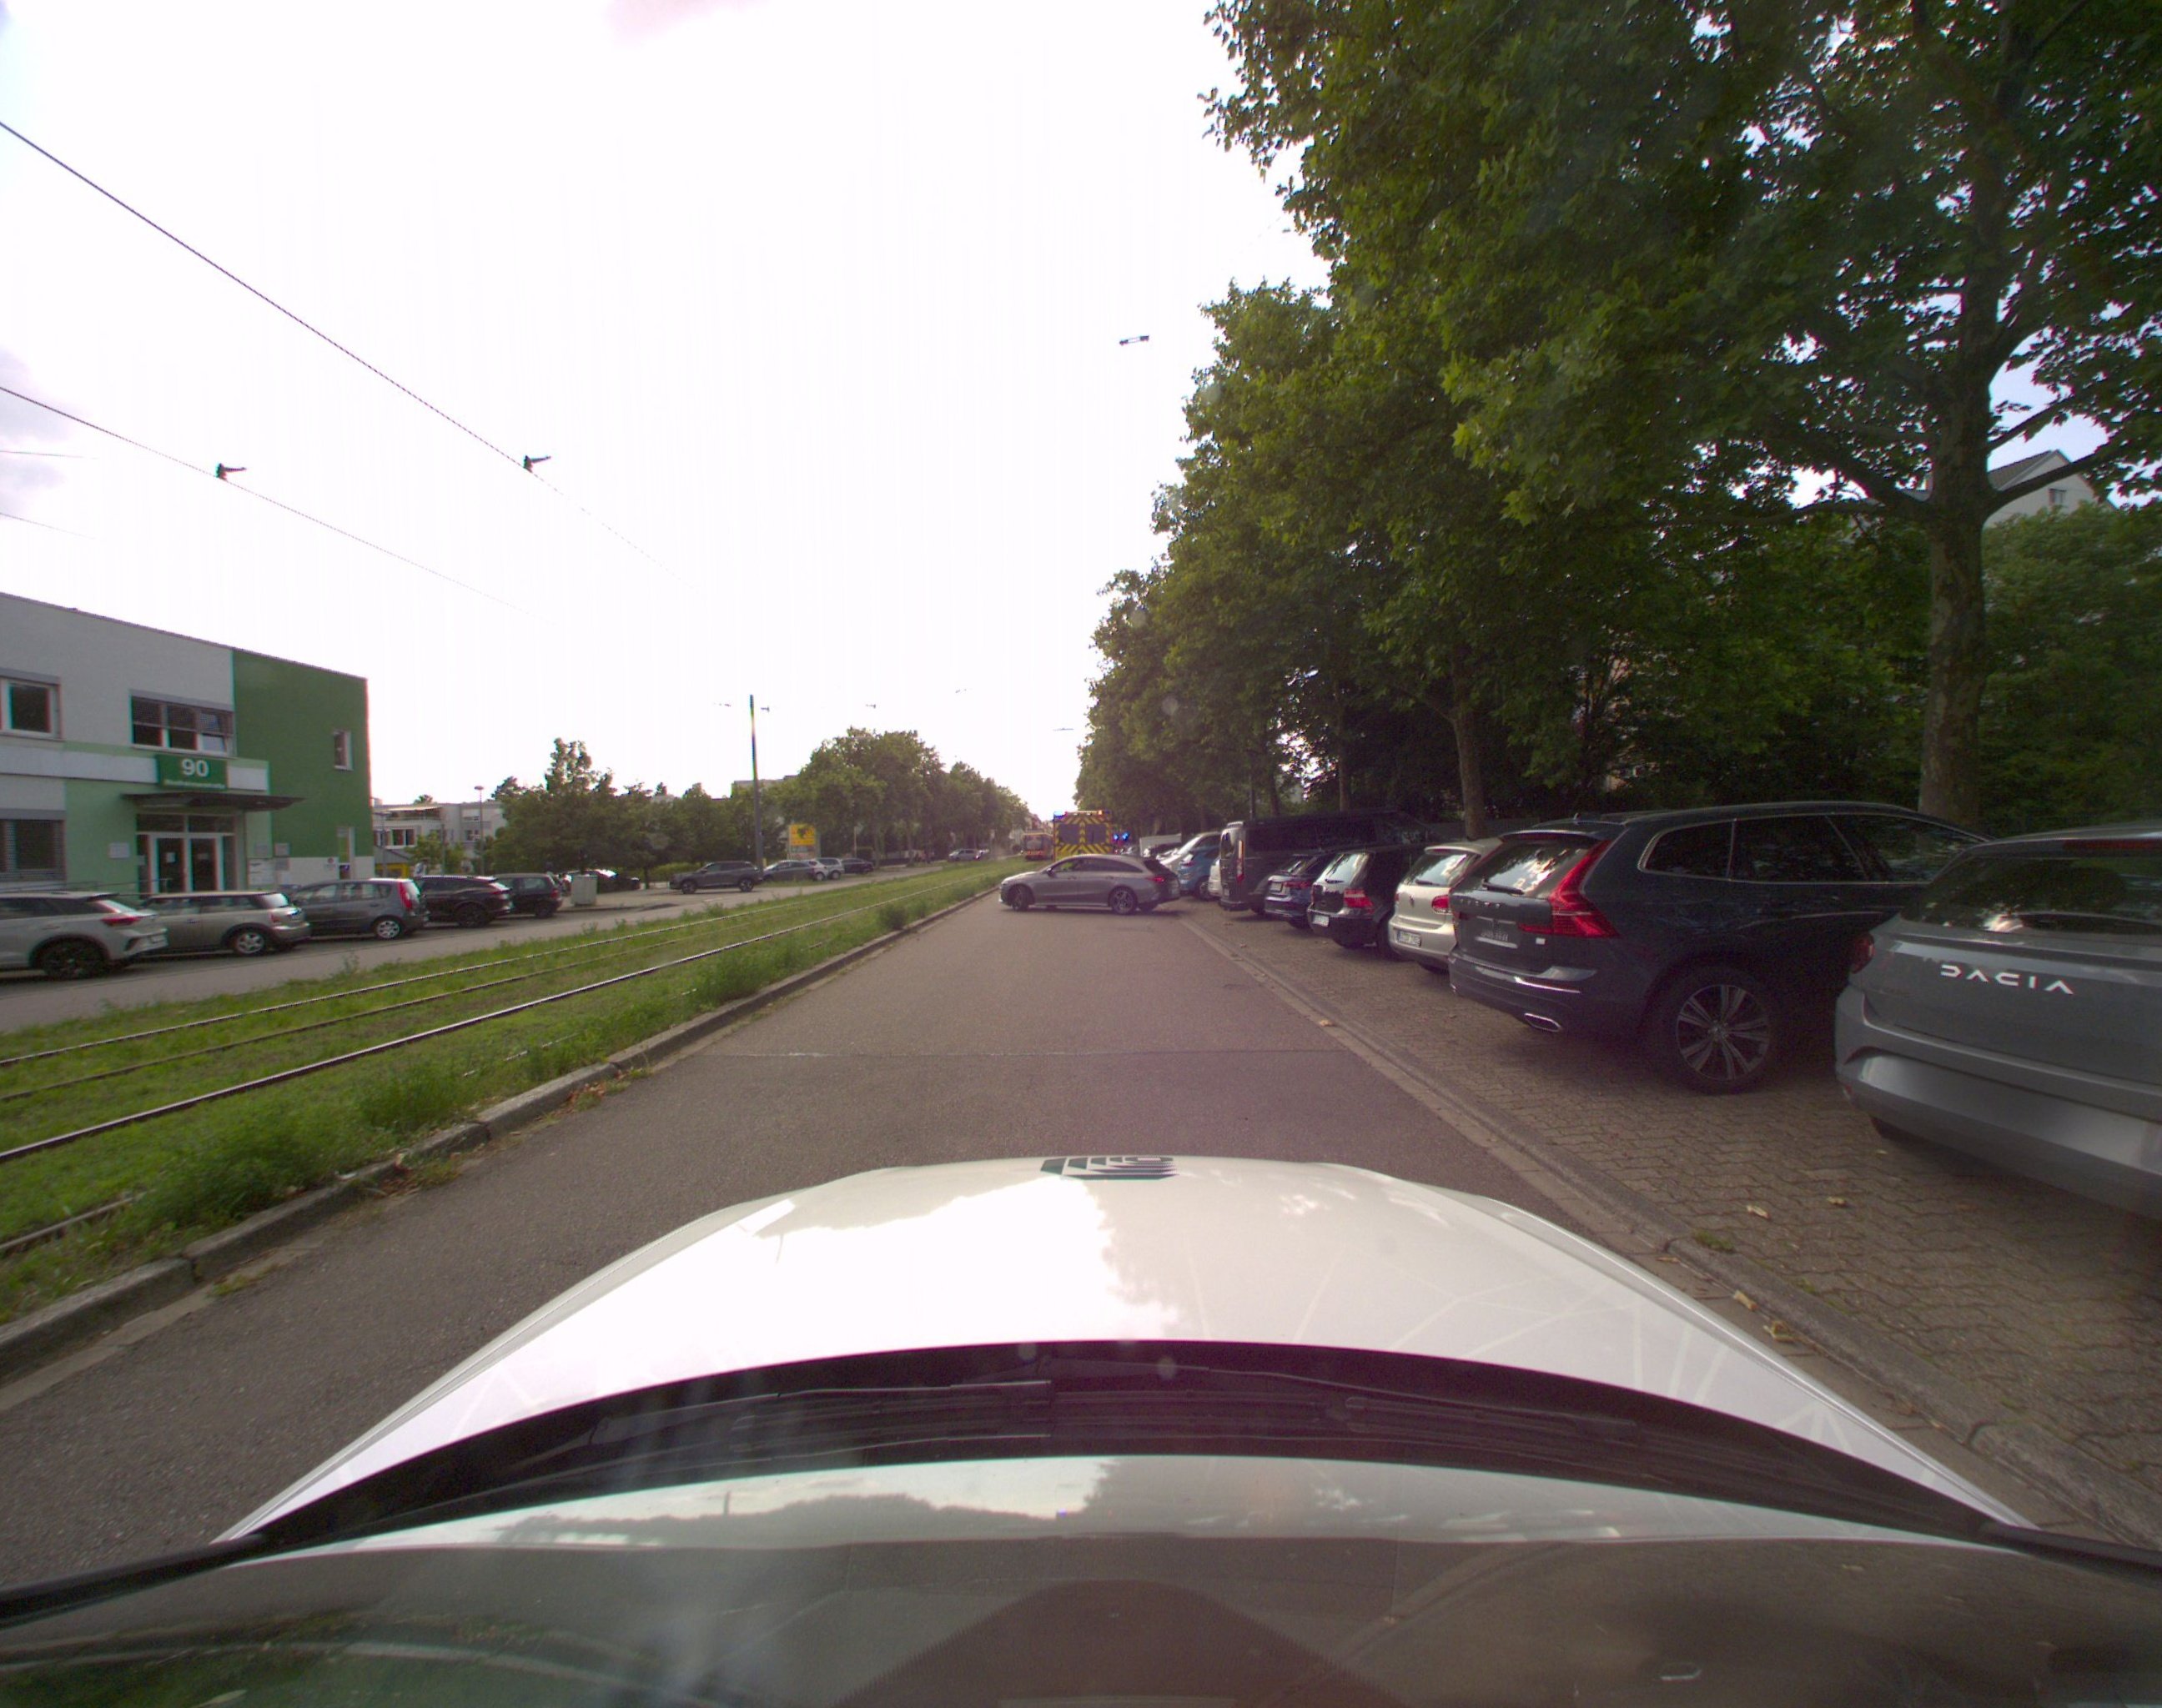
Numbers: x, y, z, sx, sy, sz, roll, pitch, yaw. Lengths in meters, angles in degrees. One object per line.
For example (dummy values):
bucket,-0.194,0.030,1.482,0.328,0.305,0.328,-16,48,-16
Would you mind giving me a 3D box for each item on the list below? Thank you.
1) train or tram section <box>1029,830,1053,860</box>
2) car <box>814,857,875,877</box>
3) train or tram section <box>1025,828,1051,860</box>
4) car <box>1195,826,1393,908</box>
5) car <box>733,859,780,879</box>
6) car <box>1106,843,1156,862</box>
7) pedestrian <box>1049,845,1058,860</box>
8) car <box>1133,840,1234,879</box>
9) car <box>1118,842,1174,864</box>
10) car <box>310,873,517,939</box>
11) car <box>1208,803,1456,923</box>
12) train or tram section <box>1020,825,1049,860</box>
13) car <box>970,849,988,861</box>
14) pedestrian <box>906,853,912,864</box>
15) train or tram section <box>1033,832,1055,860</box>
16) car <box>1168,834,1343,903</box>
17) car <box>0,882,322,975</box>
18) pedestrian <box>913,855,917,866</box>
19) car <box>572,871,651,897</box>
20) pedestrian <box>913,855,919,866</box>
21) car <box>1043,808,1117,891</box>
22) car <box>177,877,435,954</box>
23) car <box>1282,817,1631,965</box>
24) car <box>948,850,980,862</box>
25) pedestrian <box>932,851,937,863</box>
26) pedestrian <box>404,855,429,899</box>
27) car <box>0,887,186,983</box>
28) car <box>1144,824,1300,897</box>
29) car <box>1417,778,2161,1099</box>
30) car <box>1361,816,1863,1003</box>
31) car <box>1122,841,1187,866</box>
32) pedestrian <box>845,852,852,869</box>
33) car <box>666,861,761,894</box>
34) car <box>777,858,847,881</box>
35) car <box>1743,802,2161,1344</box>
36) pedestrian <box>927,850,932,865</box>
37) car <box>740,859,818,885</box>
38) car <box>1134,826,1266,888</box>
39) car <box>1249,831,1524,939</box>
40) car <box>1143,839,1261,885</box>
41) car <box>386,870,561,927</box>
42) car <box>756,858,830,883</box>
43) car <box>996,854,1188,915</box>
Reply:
train or tram section,-5.022,-1.070,103.942,2.504,3.584,7.443,-3,0,0
car,-18.868,1.046,65.087,4.256,1.482,1.861,-1,0,-40
train or tram section,-5.038,-1.122,96.497,2.504,3.584,7.443,-3,0,0
car,5.369,0.308,20.925,4.532,1.766,1.855,-3,0,-1
car,-29.661,1.313,74.413,3.949,1.750,2.013,0,0,31
car,4.818,-0.178,78.859,4.537,1.608,1.853,-3,0,-4
pedestrian,-2.853,-0.127,84.927,0.878,1.525,0.751,0,-1,-1
car,4.891,0.257,39.216,4.537,1.608,1.853,-3,0,-4
car,5.608,-0.109,70.627,4.537,1.608,1.853,-3,0,-4
car,-18.881,1.407,23.337,4.247,1.482,1.866,-3,1,-29
car,5.103,0.163,17.009,4.532,2.123,1.855,-3,0,-1
train or tram section,-5.046,-1.173,89.066,2.504,3.584,7.443,-3,0,0
car,-14.834,0.134,118.648,1.987,1.557,4.369,-3,1,-1
pedestrian,-23.849,0.651,113.072,0.631,1.551,0.621,-2,0,-3
train or tram section,-4.999,-1.018,111.384,2.504,3.584,7.443,-3,0,0
car,4.942,0.382,23.456,4.538,1.660,1.853,-3,0,-5
car,-19.224,1.482,17.209,4.247,1.482,1.866,-3,1,-29
pedestrian,-21.103,0.827,103.353,0.420,1.473,0.467,-2,0,-5
car,-29.428,1.876,51.107,3.970,1.565,1.779,0,-1,2
pedestrian,-21.303,0.817,105.187,0.417,1.414,0.470,-2,0,25
car,0.061,-0.182,32.596,2.631,2.966,6.302,1,0,2
car,-18.981,1.447,20.258,4.247,1.482,1.866,-3,1,-29
car,4.987,0.433,11.040,3.967,1.605,1.750,-3,0,-11
car,-18.602,0.304,129.621,4.651,1.633,1.861,-3,0,-39
pedestrian,-21.741,0.408,120.896,0.465,1.828,0.422,-2,0,-2
pedestrian,-27.732,0.957,33.989,0.544,1.828,0.508,-2,0,-2
car,-19.122,1.473,14.268,4.252,1.482,1.863,-3,1,-34
car,4.427,0.194,25.991,4.537,2.000,1.853,-3,0,-4
car,4.825,0.454,5.474,4.364,1.639,1.757,-3,0,2
car,5.163,0.498,8.316,3.953,1.494,1.756,-3,0,-1
car,5.478,-0.048,60.776,4.537,1.608,1.853,-3,0,-4
pedestrian,-23.344,0.677,81.653,0.465,1.676,0.603,-2,0,-2
car,-18.372,1.142,40.819,4.242,1.482,1.868,-1,0,-25
car,-18.766,1.056,56.883,4.253,1.482,1.863,-1,0,-36
car,5.214,0.508,2.802,4.364,1.501,1.757,-3,1,2
pedestrian,-18.459,0.446,99.256,0.420,1.730,0.467,-2,0,-5
car,-18.881,1.115,50.928,4.253,1.482,1.863,-1,0,-36
car,4.410,0.104,30.585,4.537,2.043,1.853,-3,0,-4
car,5.044,0.495,13.817,3.953,1.494,1.755,-3,0,-1
car,5.004,0.309,34.059,4.537,1.608,1.853,-3,0,-4
car,-19.425,1.371,26.303,4.247,1.482,1.866,-3,1,-29
car,-19.020,1.083,53.836,4.253,1.482,1.863,-1,0,-36
car,0.262,0.689,20.305,4.413,1.385,1.776,0,0,23
